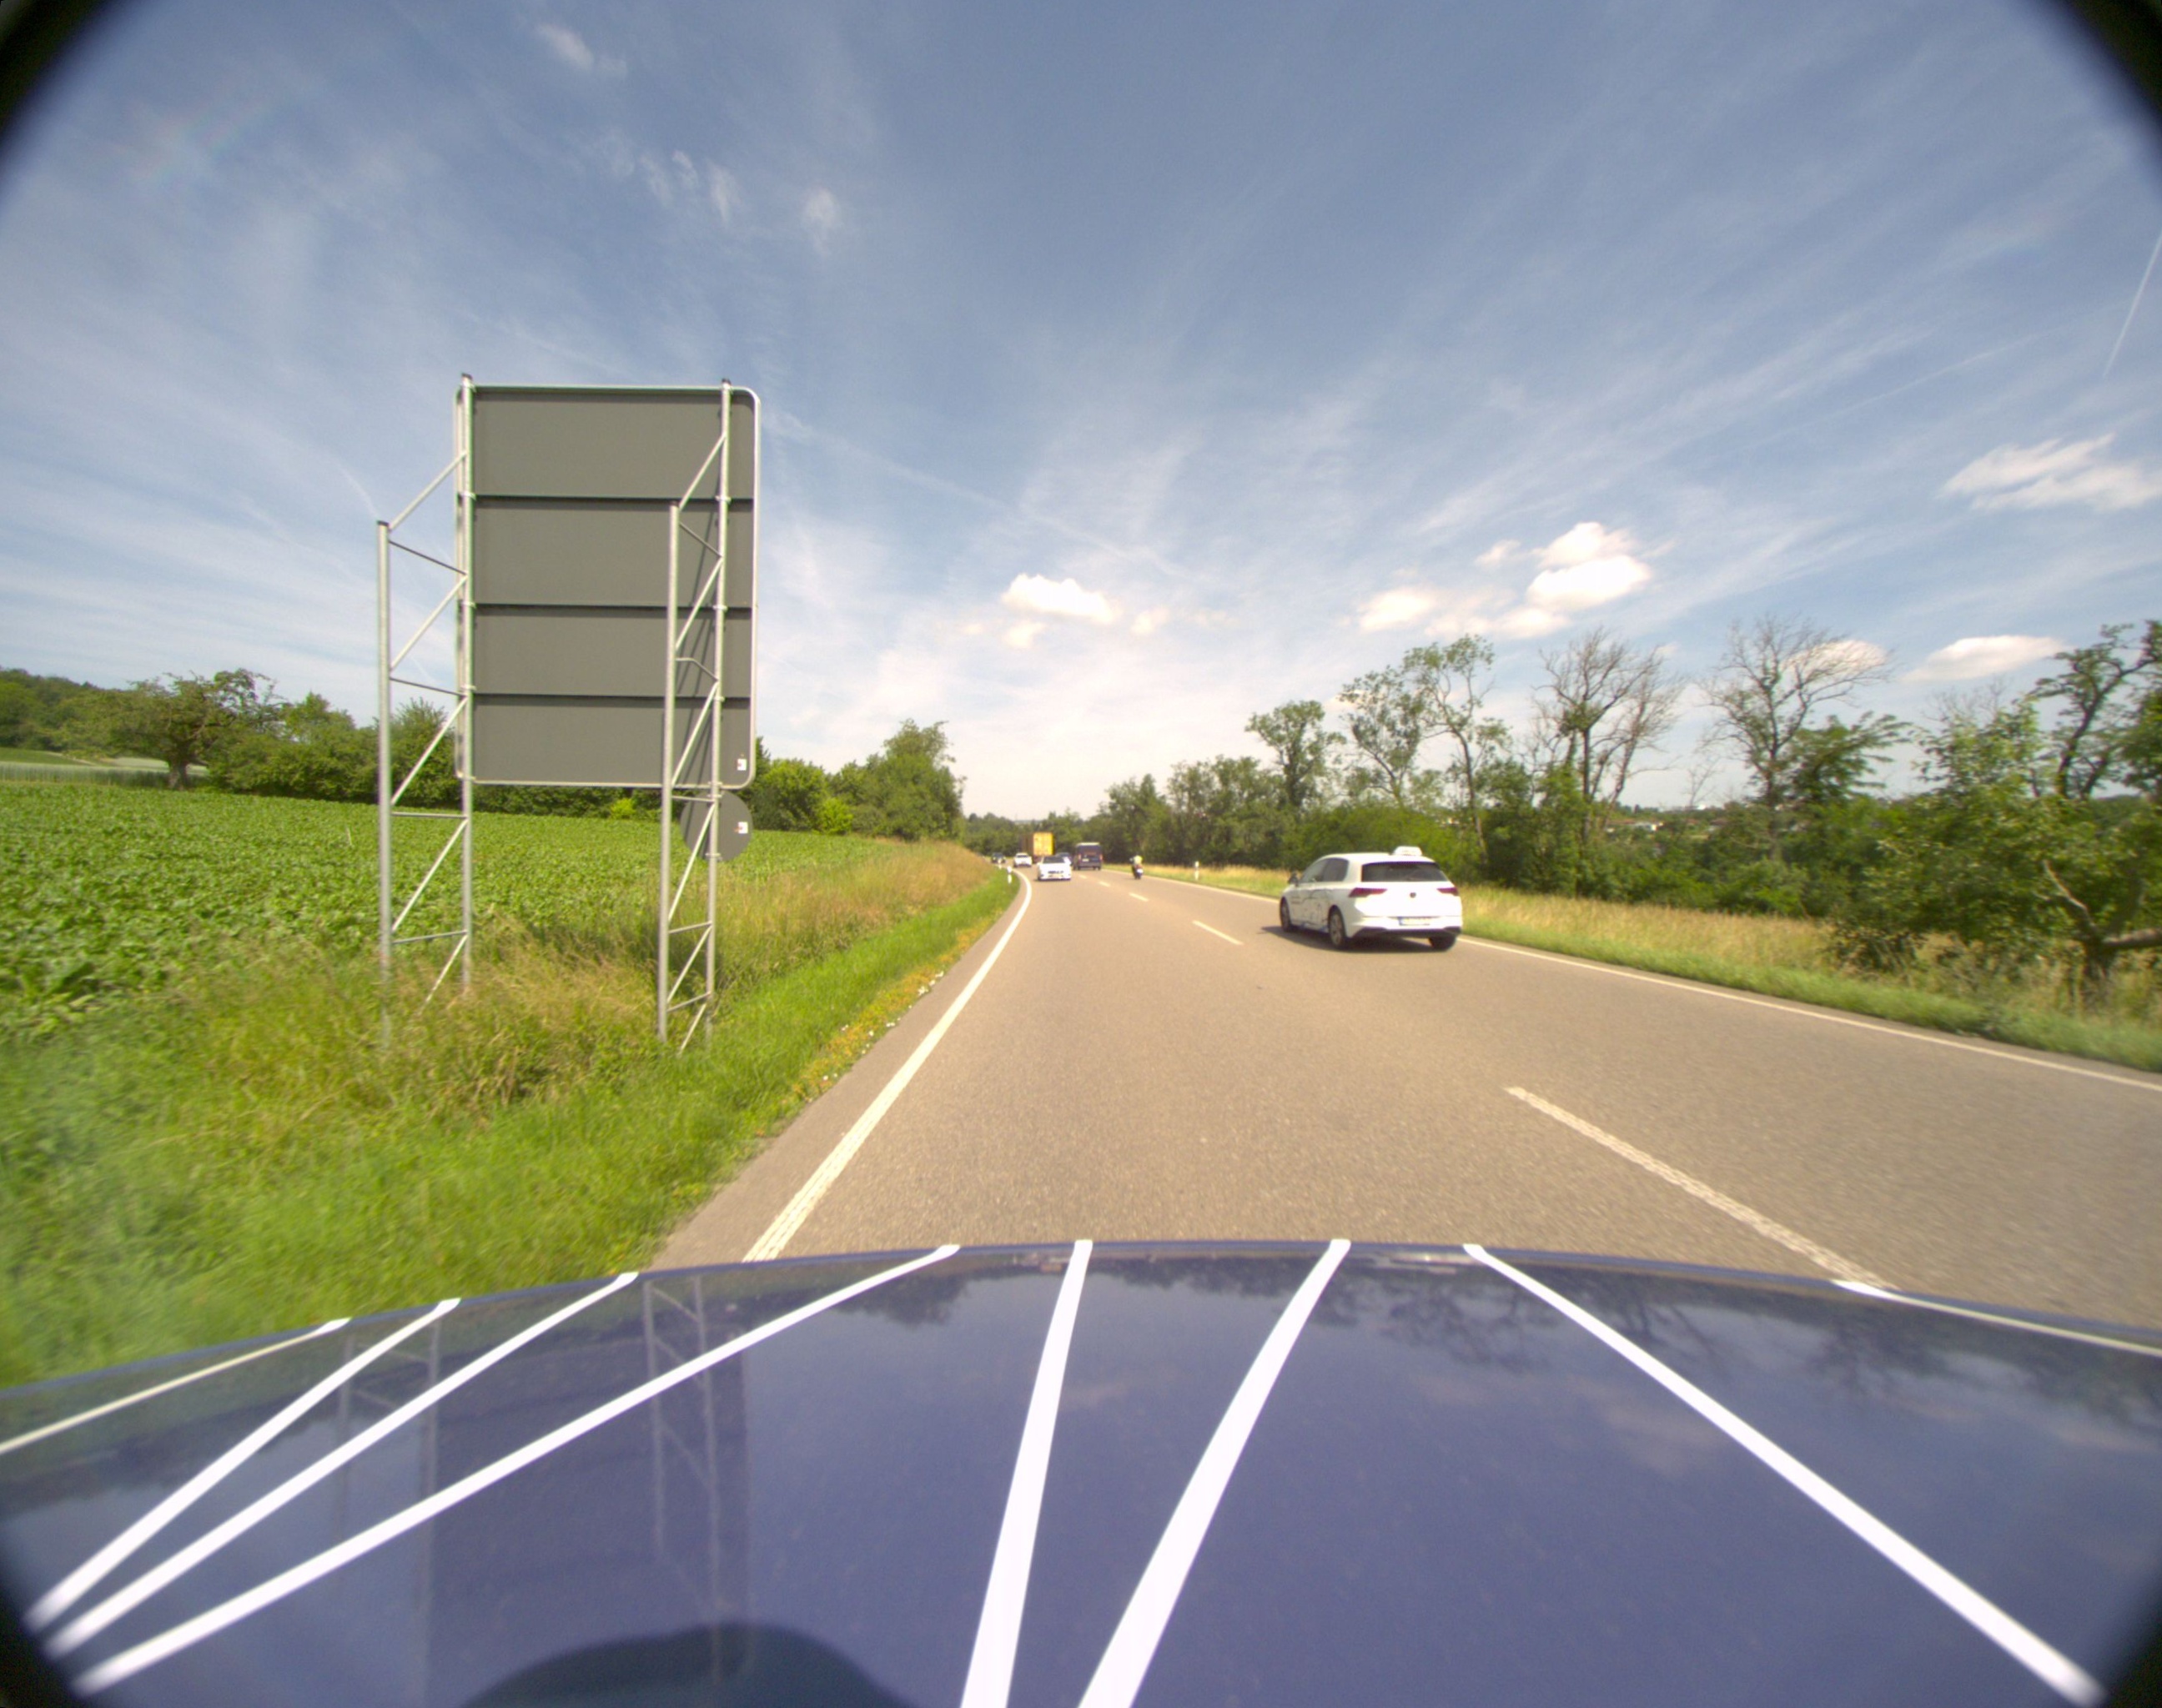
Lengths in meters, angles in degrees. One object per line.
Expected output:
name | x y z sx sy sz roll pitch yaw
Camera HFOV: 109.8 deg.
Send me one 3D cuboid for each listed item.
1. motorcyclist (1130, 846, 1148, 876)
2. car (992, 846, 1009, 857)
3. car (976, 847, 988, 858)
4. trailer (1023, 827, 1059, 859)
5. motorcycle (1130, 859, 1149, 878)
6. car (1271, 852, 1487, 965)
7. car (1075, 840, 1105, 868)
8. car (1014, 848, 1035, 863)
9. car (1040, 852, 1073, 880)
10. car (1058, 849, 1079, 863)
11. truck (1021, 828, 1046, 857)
motorcyclist | 3.313 0.388 43.639 0.921 1.708 0.962 -1 1 -2
car | -11.656 -0.372 109.814 1.827 1.510 3.994 3 1 -13
car | -17.063 -0.314 130.820 1.668 1.641 3.994 3 1 -13
trailer | -5.531 -1.521 102.772 3.007 4.020 12.902 -1 1 -11
motorcycle | 3.326 0.824 43.563 0.759 0.988 2.278 -2 1 -4
car | 4.597 0.738 12.470 1.795 1.513 4.159 -1 0 -2
car | 0.750 0.001 67.186 2.177 2.290 4.904 -2 1 -4
car | -6.153 0.183 82.696 1.868 1.480 3.995 -3 2 -10
car | -1.496 0.686 45.201 1.773 1.437 3.998 -2 1 -4
car | -1.398 0.246 83.037 1.868 1.477 4.356 -1 1 -5
truck | -6.915 -1.593 109.692 2.816 4.044 5.979 -1 1 -10
